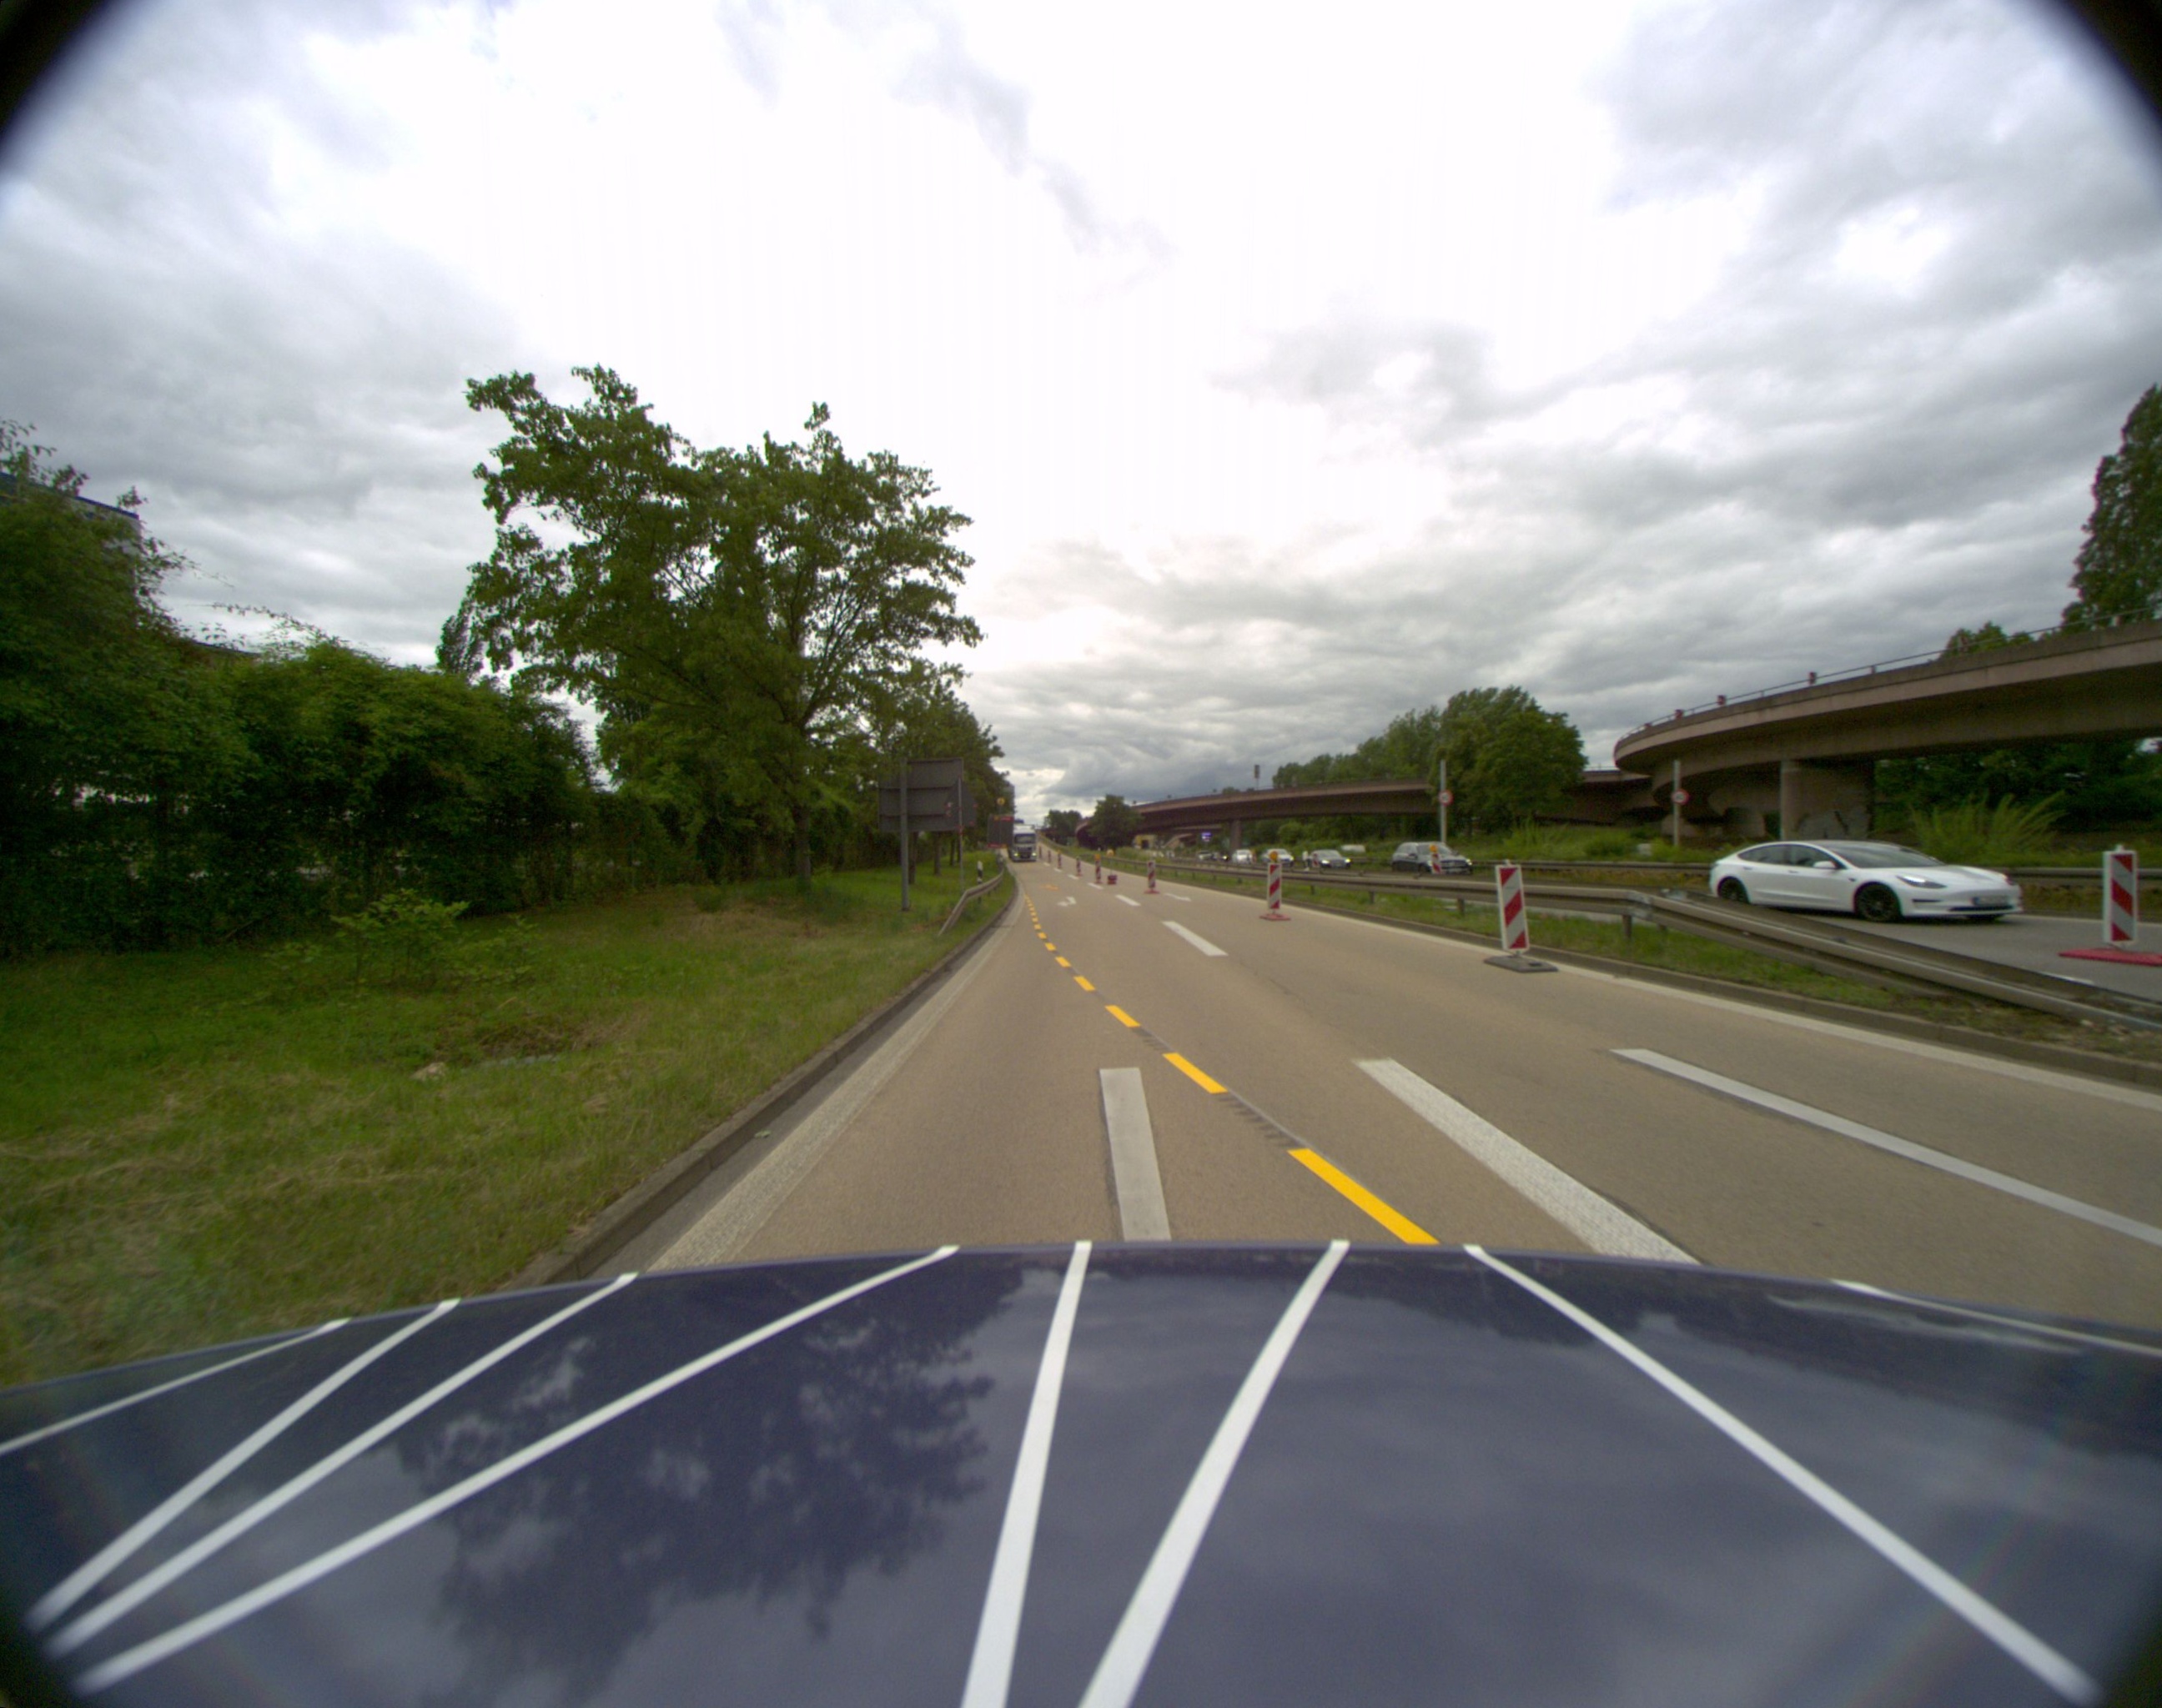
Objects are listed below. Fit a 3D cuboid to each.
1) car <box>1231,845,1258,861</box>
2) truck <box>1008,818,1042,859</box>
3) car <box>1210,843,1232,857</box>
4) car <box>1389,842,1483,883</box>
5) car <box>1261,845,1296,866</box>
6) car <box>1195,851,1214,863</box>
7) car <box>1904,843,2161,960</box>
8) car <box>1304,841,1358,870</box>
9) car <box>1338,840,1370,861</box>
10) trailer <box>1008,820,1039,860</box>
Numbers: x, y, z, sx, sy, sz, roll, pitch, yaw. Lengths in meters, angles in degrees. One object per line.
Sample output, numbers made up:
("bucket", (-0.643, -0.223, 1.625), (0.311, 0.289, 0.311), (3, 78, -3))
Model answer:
("car", (16.509, -0.111, 76.833), (1.998, 1.585, 4.000), (0, 1, 2))
("truck", (-6.198, -1.611, 82.574), (3.164, 4.107, 8.136), (-3, 1, -6))
("car", (16.620, -0.487, 90.318), (1.998, 1.585, 4.292), (0, 1, 2))
("car", (14.848, 0.312, 32.037), (1.980, 1.502, 4.291), (-3, 1, 1))
("car", (15.651, 0.096, 60.270), (1.802, 1.503, 3.999), (0, 2, 1))
("car", (16.871, 0.363, 103.694), (1.998, 1.585, 4.292), (0, 1, 2))
("car", (14.326, 0.577, 10.046), (1.978, 1.405, 4.599), (-1, 1, 1))
("car", (15.706, 0.070, 47.876), (1.936, 1.693, 3.998), (0, 1, -2))
("car", (27.545, -0.380, 76.759), (1.998, 1.991, 4.000), (0, 1, 3))
("trailer", (-7.041, -1.546, 90.829), (3.165, 4.299, 13.256), (-3, 0, -6))
